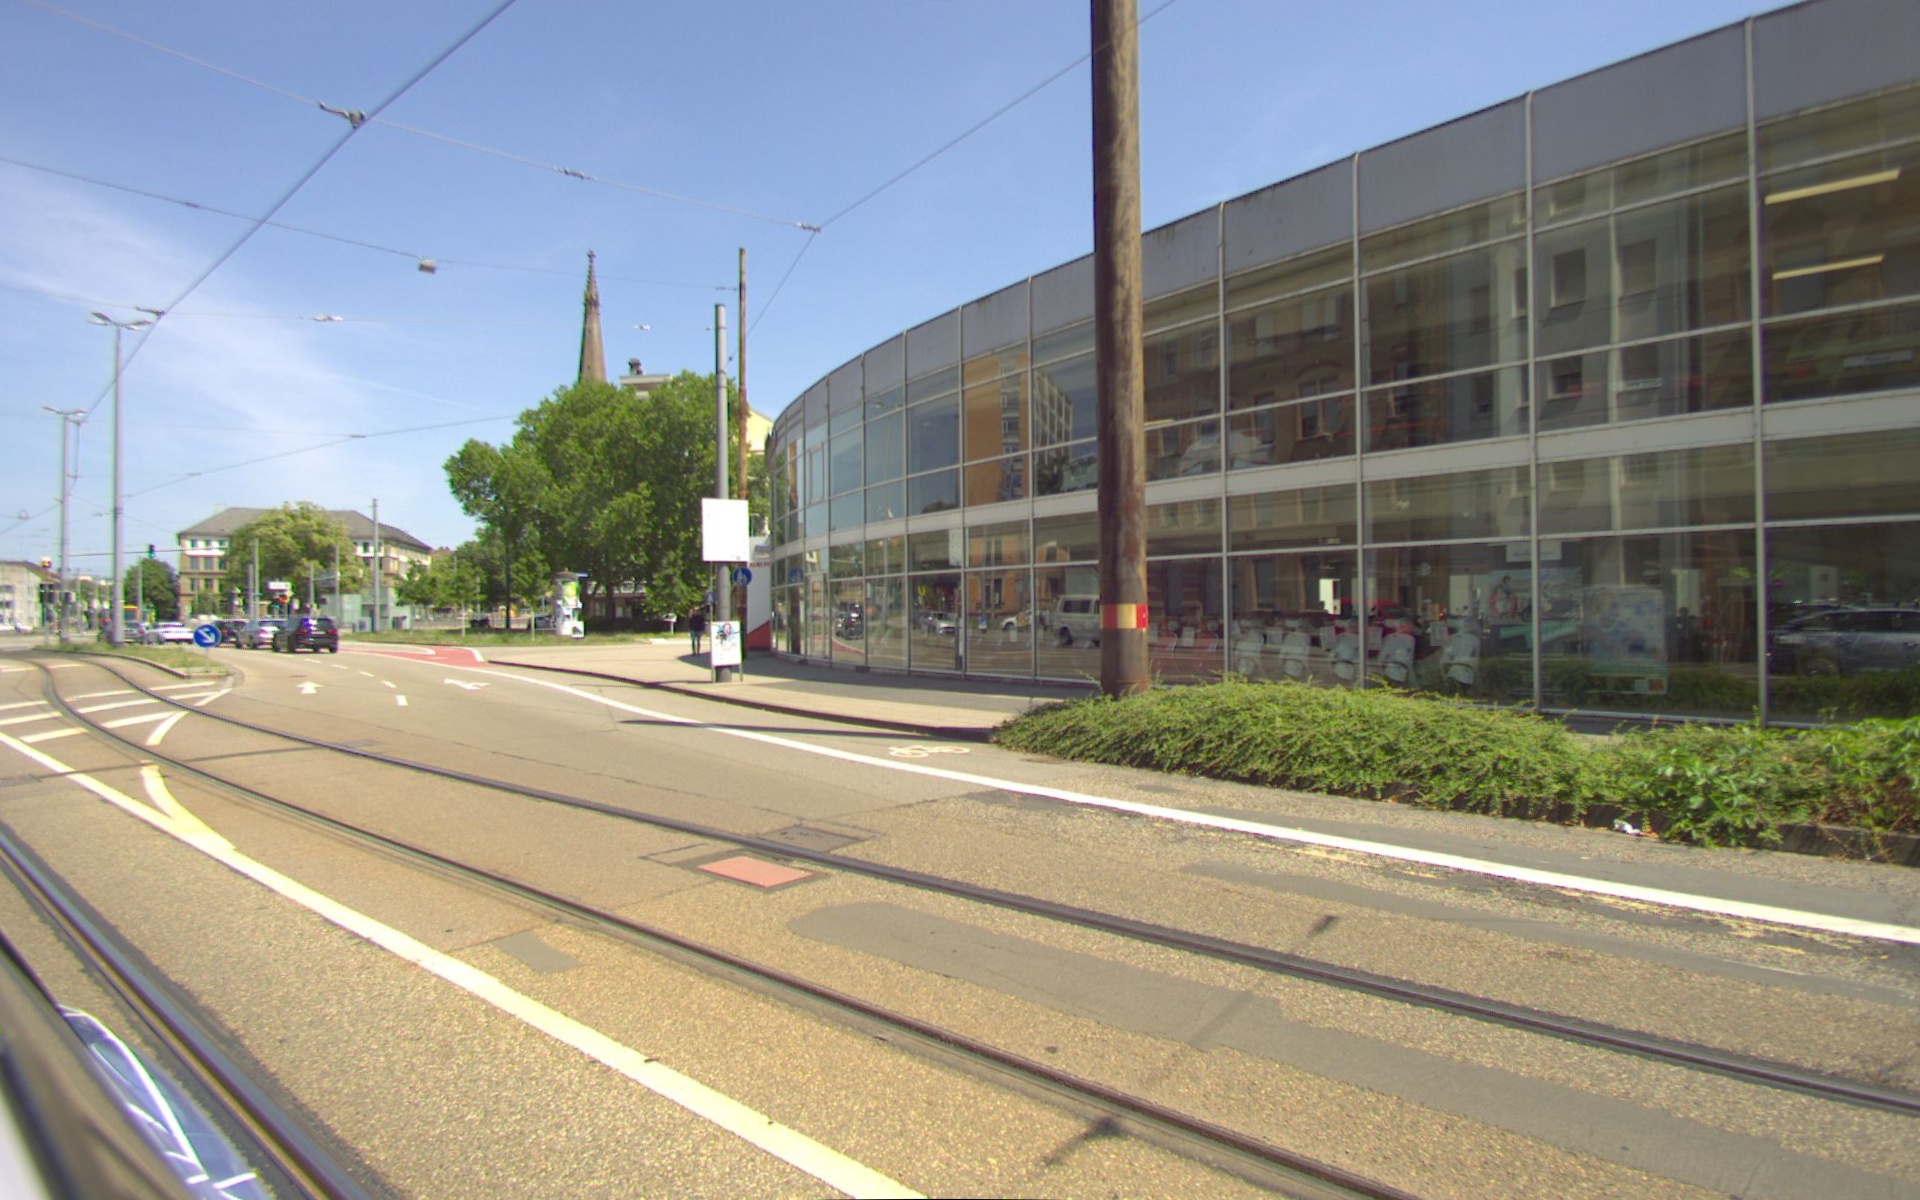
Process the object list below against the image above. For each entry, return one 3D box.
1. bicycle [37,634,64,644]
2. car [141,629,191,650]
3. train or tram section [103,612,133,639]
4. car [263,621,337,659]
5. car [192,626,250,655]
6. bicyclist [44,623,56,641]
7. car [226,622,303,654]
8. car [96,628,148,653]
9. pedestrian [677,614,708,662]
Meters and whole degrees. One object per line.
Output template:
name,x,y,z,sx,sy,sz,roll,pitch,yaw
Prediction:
bicycle,-87.465,3.751,97.300,0.528,0.986,1.883,-2,-1,36
car,-50.432,2.491,64.235,4.200,1.309,1.689,-1,-3,40
train or tram section,-103.592,3.164,124.562,2.799,3.238,9.125,0,-1,-40
car,-29.483,1.768,45.162,4.526,1.639,1.801,-2,-3,44
car,-40.074,2.171,54.853,3.901,1.473,1.653,-2,-2,41
bicyclist,-87.529,3.063,97.362,0.528,1.701,0.803,-2,-1,36
car,-35.050,1.875,50.937,5.128,1.542,1.973,-1,-3,41
car,-50.365,2.427,60.805,4.329,1.491,1.823,-2,-3,42
pedestrian,-9.314,1.322,35.231,0.820,1.654,0.719,-2,-2,44
